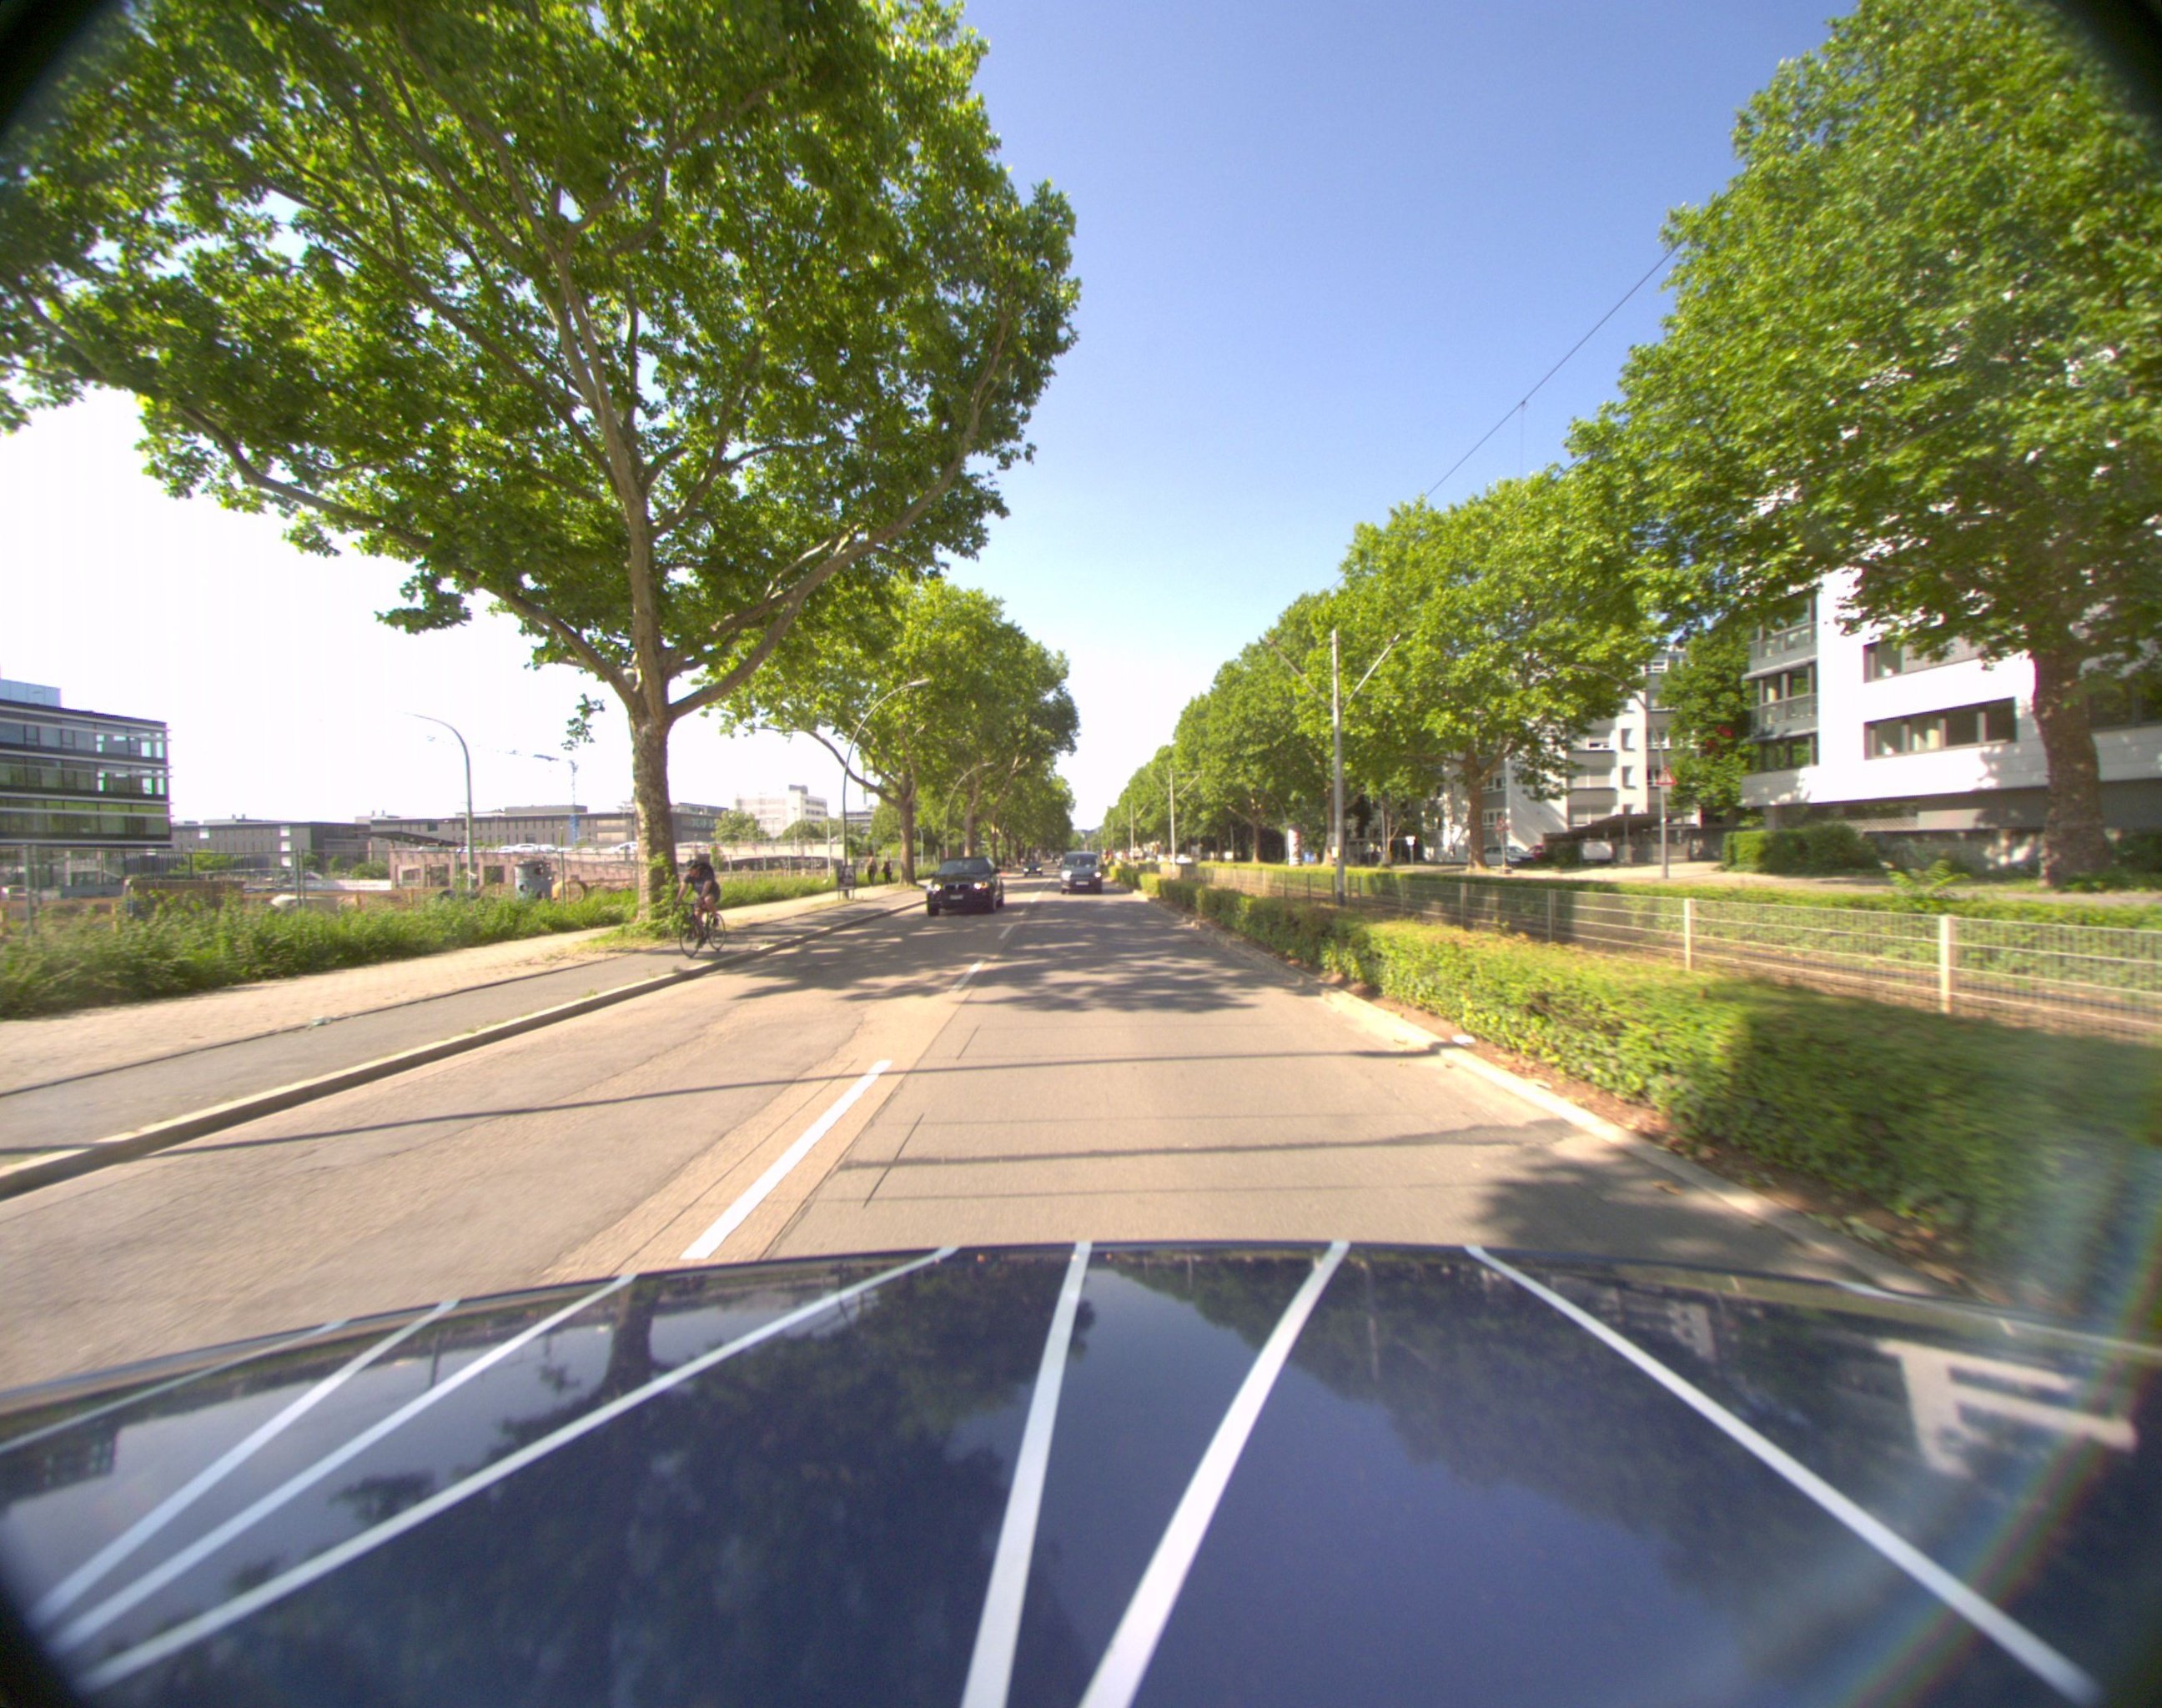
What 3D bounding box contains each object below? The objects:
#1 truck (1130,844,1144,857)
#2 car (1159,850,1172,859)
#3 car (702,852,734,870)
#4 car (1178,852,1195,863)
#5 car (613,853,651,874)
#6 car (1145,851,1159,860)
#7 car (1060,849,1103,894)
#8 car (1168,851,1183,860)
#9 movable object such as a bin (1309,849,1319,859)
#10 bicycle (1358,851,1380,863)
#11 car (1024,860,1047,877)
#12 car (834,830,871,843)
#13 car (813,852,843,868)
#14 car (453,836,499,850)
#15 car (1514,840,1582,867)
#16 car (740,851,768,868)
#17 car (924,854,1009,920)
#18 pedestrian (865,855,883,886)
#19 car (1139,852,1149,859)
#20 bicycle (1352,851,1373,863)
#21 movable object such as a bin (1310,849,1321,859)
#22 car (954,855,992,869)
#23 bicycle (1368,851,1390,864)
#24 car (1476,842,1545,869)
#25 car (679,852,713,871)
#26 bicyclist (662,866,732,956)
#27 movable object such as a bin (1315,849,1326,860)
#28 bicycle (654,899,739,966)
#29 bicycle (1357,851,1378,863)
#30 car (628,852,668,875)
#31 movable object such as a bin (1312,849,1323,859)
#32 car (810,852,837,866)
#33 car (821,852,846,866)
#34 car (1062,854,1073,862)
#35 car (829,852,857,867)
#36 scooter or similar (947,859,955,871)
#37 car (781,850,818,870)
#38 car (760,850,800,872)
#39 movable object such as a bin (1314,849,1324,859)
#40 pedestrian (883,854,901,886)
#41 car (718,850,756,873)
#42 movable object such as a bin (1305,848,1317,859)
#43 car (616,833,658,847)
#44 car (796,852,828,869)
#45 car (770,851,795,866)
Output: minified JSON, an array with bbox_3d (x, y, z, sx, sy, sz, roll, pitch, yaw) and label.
[{"bbox_3d":[13.974,-0.916,190.980,2.752,3.259,6.540,-2,0,-1],"label":"truck"},{"bbox_3d":[15.345,0.063,138.223,1.860,1.445,3.999,-2,0,-1],"label":"car"},{"bbox_3d":[-56.710,1.073,118.610,3.998,2.723,1.808,-2,1,-3],"label":"car"},{"bbox_3d":[15.447,0.520,111.219,1.820,1.482,3.912,0,0,-1],"label":"car"},{"bbox_3d":[-61.707,1.275,104.461,3.998,2.723,1.808,-2,1,-3],"label":"car"},{"bbox_3d":[12.241,0.243,130.901,1.860,1.445,3.999,-2,0,-1],"label":"car"},{"bbox_3d":[0.073,0.726,33.930,1.789,1.839,4.000,-1,1,1],"label":"car"},{"bbox_3d":[15.719,0.201,126.752,1.856,1.445,3.999,-2,0,-1],"label":"car"},{"bbox_3d":[24.676,0.026,80.475,0.898,1.031,0.546,-2,1,-1],"label":"movable object such as a bin"},{"bbox_3d":[26.183,0.284,69.087,1.770,1.096,0.421,-2,1,-1],"label":"bicycle"},{"bbox_3d":[-4.480,1.411,74.971,1.854,1.419,4.151,-2,0,1],"label":"car"},{"bbox_3d":[-28.424,-2.155,94.581,3.998,1.501,1.808,-2,0,-3],"label":"car"},{"bbox_3d":[-39.644,0.916,119.201,3.998,2.308,1.808,-2,1,-3],"label":"car"},{"bbox_3d":[-72.473,-1.314,91.084,3.998,1.501,1.808,-2,0,-3],"label":"car"},{"bbox_3d":[29.159,-0.022,47.607,1.747,1.541,3.999,-2,0,-1],"label":"car"},{"bbox_3d":[-56.930,0.985,132.438,3.998,2.723,1.808,-2,1,-3],"label":"car"},{"bbox_3d":[-3.420,0.933,23.538,1.924,1.720,4.151,-3,0,0],"label":"car"},{"bbox_3d":[-11.346,0.891,41.713,0.697,1.673,0.959,-2,1,-1],"label":"pedestrian"},{"bbox_3d":[13.595,0.311,165.285,1.701,1.406,3.891,-4,0,-1],"label":"car"},{"bbox_3d":[26.190,0.273,70.635,1.770,1.096,0.421,-2,1,-1],"label":"bicycle"},{"bbox_3d":[24.650,0.031,79.909,0.898,1.031,0.546,-2,1,-1],"label":"movable object such as a bin"},{"bbox_3d":[-11.761,0.904,82.560,3.989,1.400,1.901,-2,0,41],"label":"car"},{"bbox_3d":[26.357,0.293,67.206,1.770,1.096,0.421,-2,1,-1],"label":"bicycle"},{"bbox_3d":[26.700,0.078,47.383,1.747,1.541,4.348,-2,0,-1],"label":"car"},{"bbox_3d":[-56.577,1.117,111.681,3.998,2.723,1.808,-2,1,-3],"label":"car"},{"bbox_3d":[-6.689,0.962,13.292,0.600,1.481,1.214,1,0,-1],"label":"bicyclist"},{"bbox_3d":[24.611,0.043,78.181,0.898,1.031,0.546,-2,1,-1],"label":"movable object such as a bin"},{"bbox_3d":[-6.698,1.342,13.334,0.599,0.974,1.781,1,0,-1],"label":"bicycle"},{"bbox_3d":[26.208,0.280,69.549,1.770,1.096,0.421,-2,1,-1],"label":"bicycle"},{"bbox_3d":[-55.754,1.194,97.781,3.998,2.723,1.808,-2,1,-3],"label":"car"},{"bbox_3d":[24.670,0.034,79.303,0.898,1.031,0.546,-2,1,-1],"label":"movable object such as a bin"},{"bbox_3d":[-44.911,0.938,132.573,3.998,2.308,1.808,-2,1,-3],"label":"car"},{"bbox_3d":[-45.383,0.901,139.570,3.998,2.308,1.808,-2,1,-3],"label":"car"},{"bbox_3d":[-2.504,0.701,145.592,1.854,1.419,4.151,-2,0,1],"label":"car"},{"bbox_3d":[-39.519,0.867,126.094,3.998,2.308,1.808,-2,1,-3],"label":"car"},{"bbox_3d":[-12.324,1.040,72.149,0.483,1.115,1.128,-2,0,0],"label":"scooter or similar"},{"bbox_3d":[-38.970,0.806,105.410,4.375,2.723,1.808,-2,1,-3],"label":"car"},{"bbox_3d":[-38.988,0.854,98.378,4.375,2.723,1.808,-2,1,-3],"label":"car"},{"bbox_3d":[24.670,0.038,78.738,0.898,1.031,0.546,-2,1,-1],"label":"movable object such as a bin"},{"bbox_3d":[-10.331,0.862,41.571,0.711,1.714,1.066,-2,1,-1],"label":"pedestrian"},{"bbox_3d":[-44.555,0.955,98.335,3.998,2.723,1.808,-2,1,-3],"label":"car"},{"bbox_3d":[24.650,-0.050,81.332,0.898,1.182,1.099,-2,0,-1],"label":"movable object such as a bin"},{"bbox_3d":[-54.927,-1.719,94.035,3.998,1.501,1.808,-2,0,-3],"label":"car"},{"bbox_3d":[-39.296,0.963,111.165,3.998,2.308,1.808,-2,1,-3],"label":"car"},{"bbox_3d":[-57.427,0.903,146.139,3.998,2.723,1.808,-2,1,-3],"label":"car"}]
